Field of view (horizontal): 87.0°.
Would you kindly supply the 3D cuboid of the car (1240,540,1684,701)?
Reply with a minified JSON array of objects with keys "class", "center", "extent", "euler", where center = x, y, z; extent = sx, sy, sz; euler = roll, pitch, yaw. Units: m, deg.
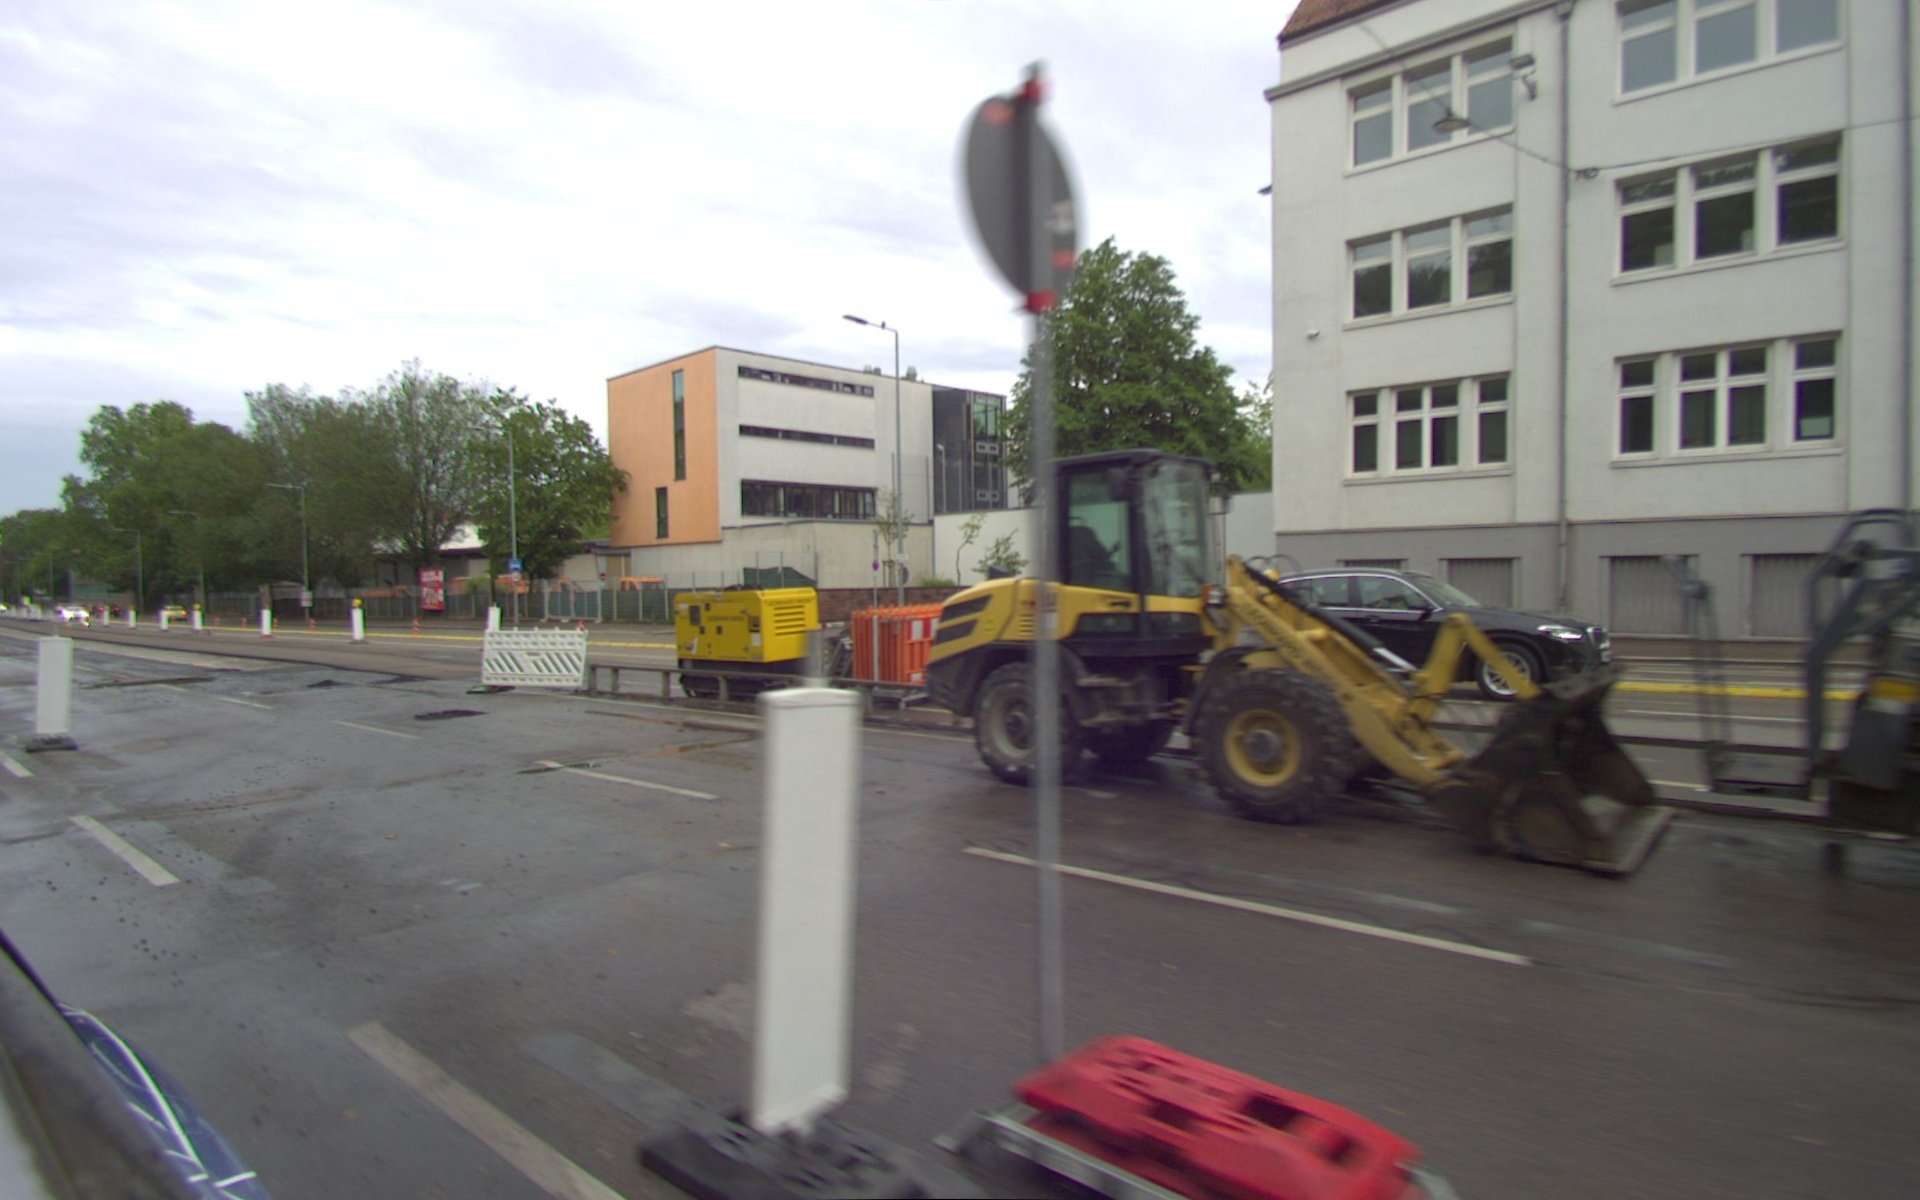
[{"class":"car","center":[6.417,0.204,13.596],"extent":[1.967,1.718,4.997],"euler":[-3,2,-34]}]

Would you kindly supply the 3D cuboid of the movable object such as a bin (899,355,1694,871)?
[{"class":"movable object such as a bin","center":[2.114,0.085,7.665],"extent":[5.382,2.628,1.882],"euler":[-1,0,42]}]

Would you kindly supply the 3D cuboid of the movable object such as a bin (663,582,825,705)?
[{"class":"movable object such as a bin","center":[-3.222,0.595,14.966],"extent":[2.438,1.657,1.072],"euler":[-1,1,42]}]

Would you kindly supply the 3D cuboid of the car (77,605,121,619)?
[{"class":"car","center":[-103.915,1.404,122.170],"extent":[4.284,1.642,1.858],"euler":[0,0,12]}]

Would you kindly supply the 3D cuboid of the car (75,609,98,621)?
[{"class":"car","center":[-112.226,1.935,129.995],"extent":[3.732,1.487,1.839],"euler":[-1,-1,43]}]

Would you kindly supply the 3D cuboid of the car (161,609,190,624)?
[{"class":"car","center":[-75.139,1.578,96.874],"extent":[3.804,1.378,1.537],"euler":[-1,0,42]}]

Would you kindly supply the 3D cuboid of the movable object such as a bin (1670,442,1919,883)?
[{"class":"movable object such as a bin","center":[6.170,0.259,4.283],"extent":[5.029,2.106,1.348],"euler":[-1,0,42]}]

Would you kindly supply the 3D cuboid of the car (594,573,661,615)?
[{"class":"car","center":[-17.887,-0.312,54.364],"extent":[3.999,2.186,1.593],"euler":[-1,1,42]}]

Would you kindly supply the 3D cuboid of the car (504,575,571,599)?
[{"class":"car","center":[-29.870,-0.929,71.691],"extent":[3.959,1.539,2.004],"euler":[-2,1,-9]}]
